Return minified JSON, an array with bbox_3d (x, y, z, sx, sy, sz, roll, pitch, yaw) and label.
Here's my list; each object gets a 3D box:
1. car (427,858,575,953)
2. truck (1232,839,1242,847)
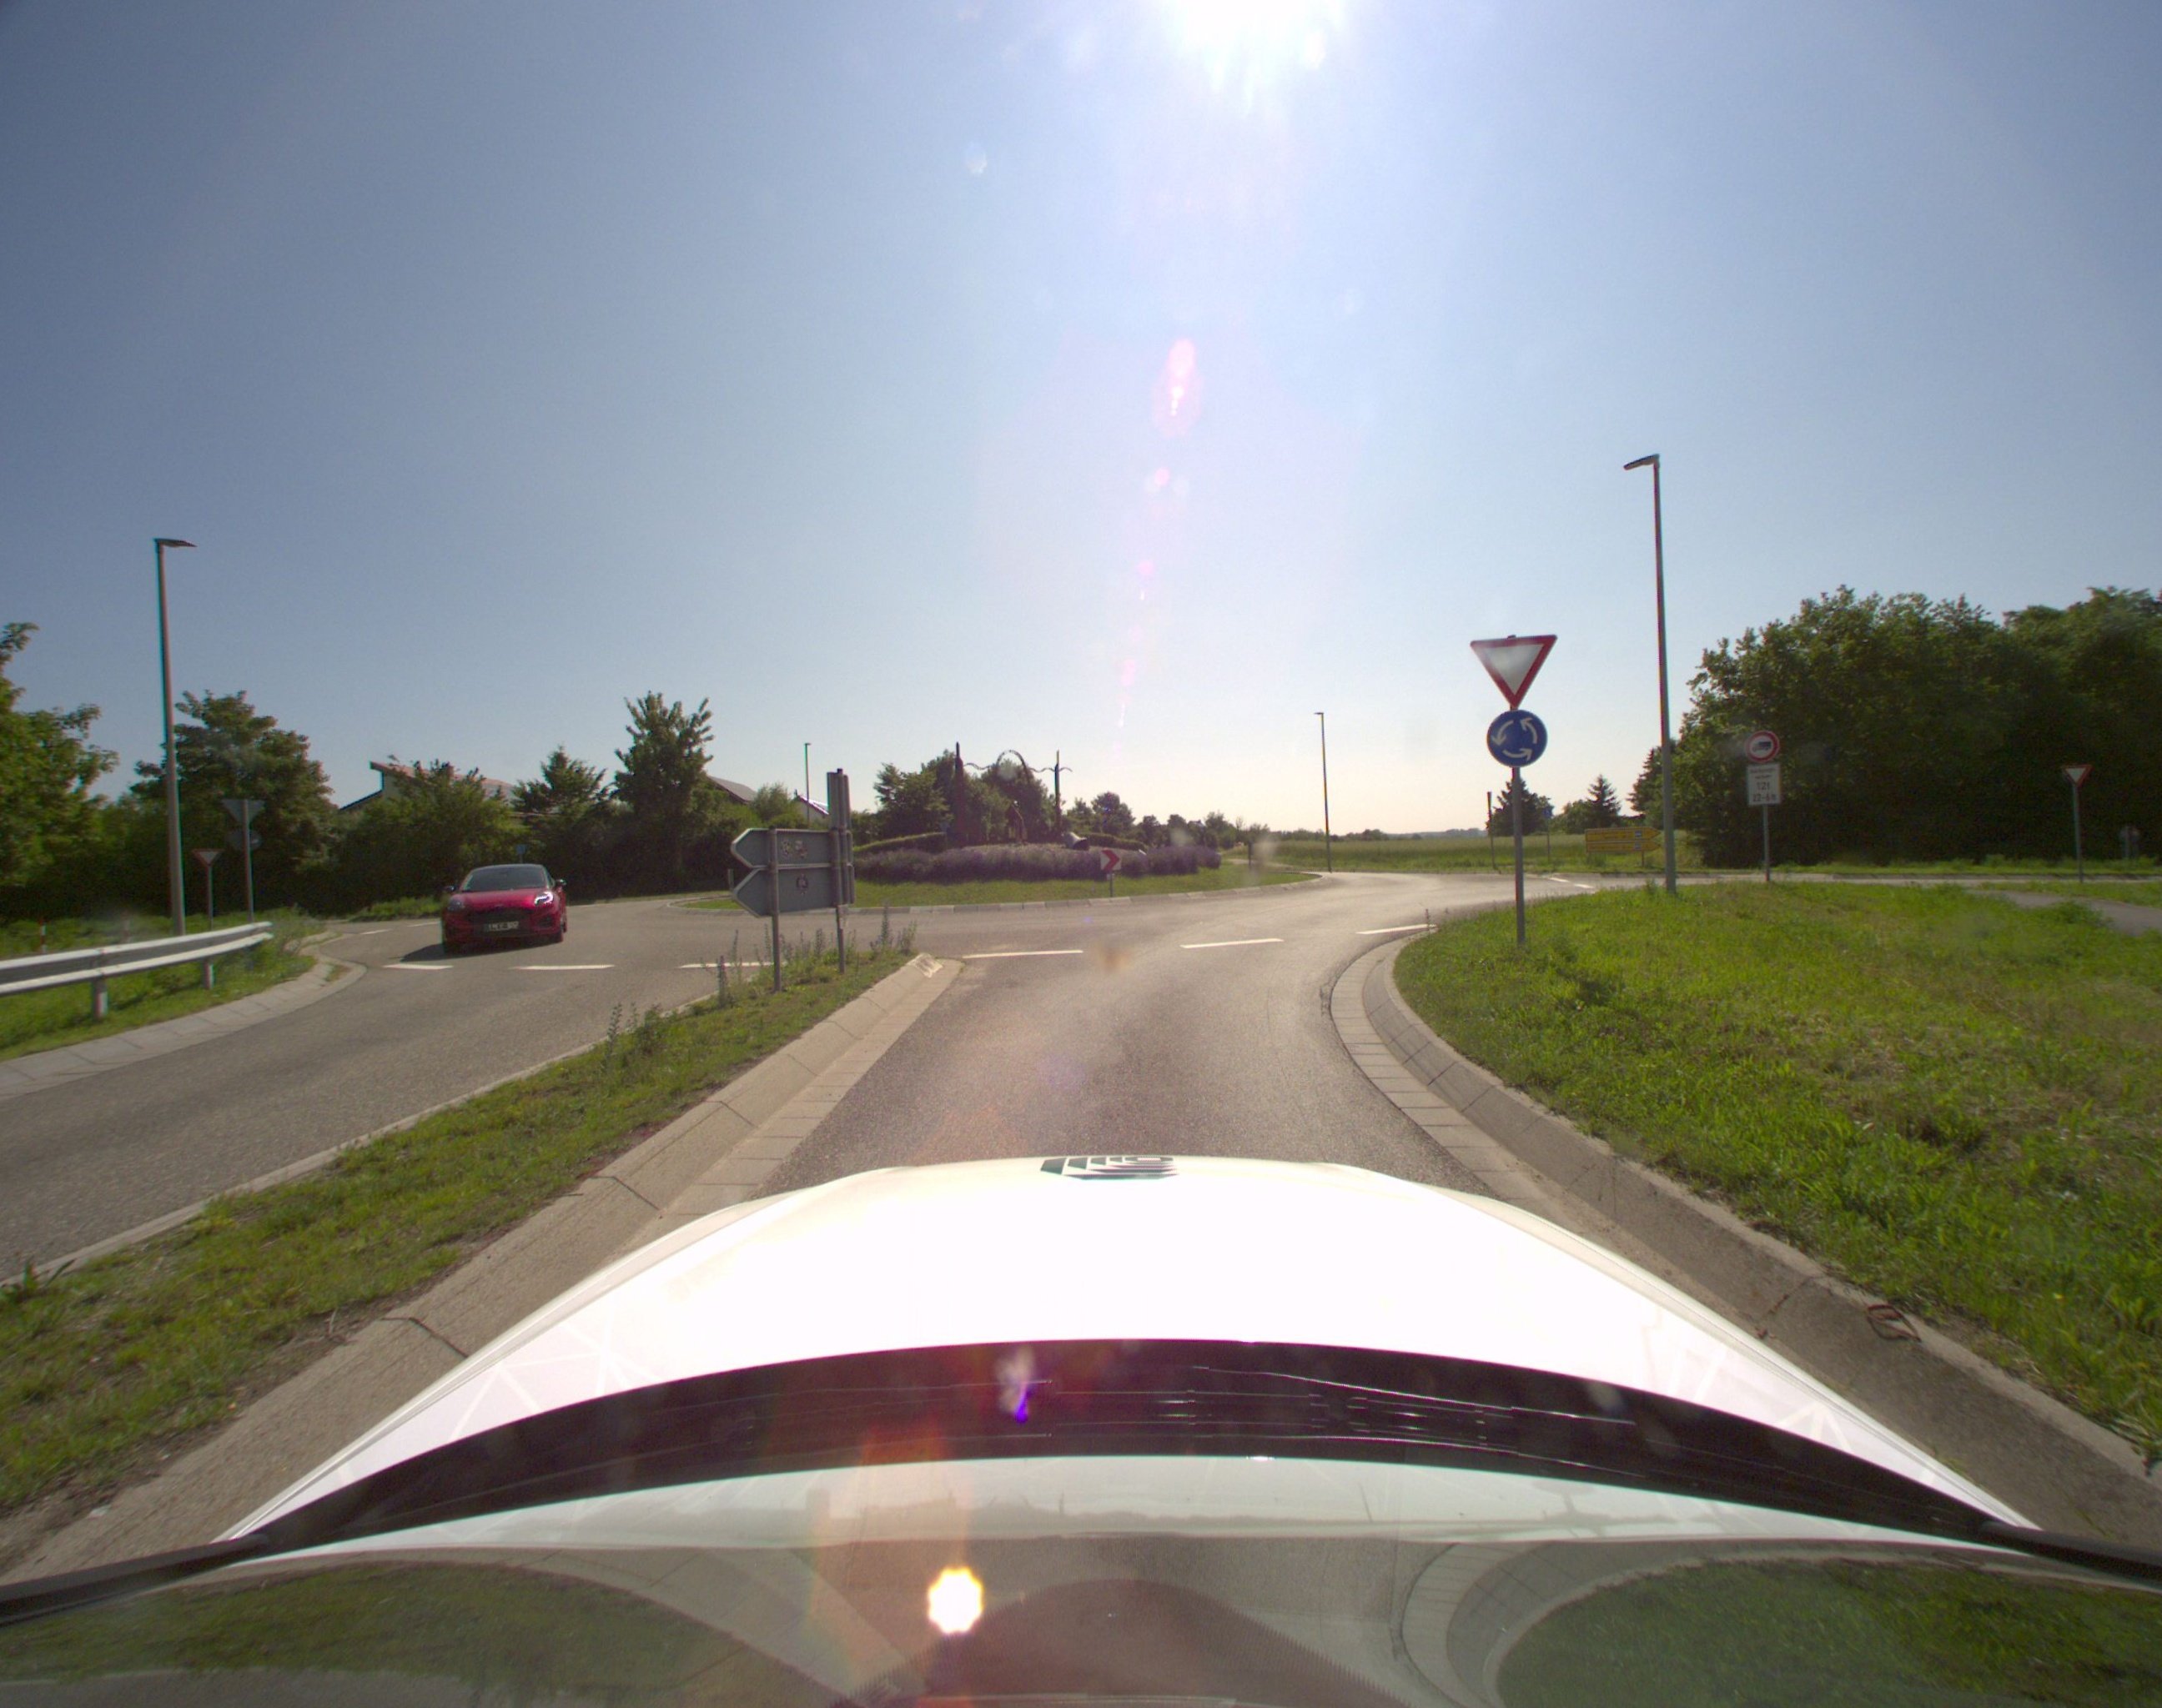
[{"bbox_3d":[-11.162,0.896,15.945,1.754,1.522,3.797,-4,1,-27],"label":"car"},{"bbox_3d":[38.477,-2.725,200.331,1.978,2.013,4.018,-2,0,17],"label":"truck"}]
